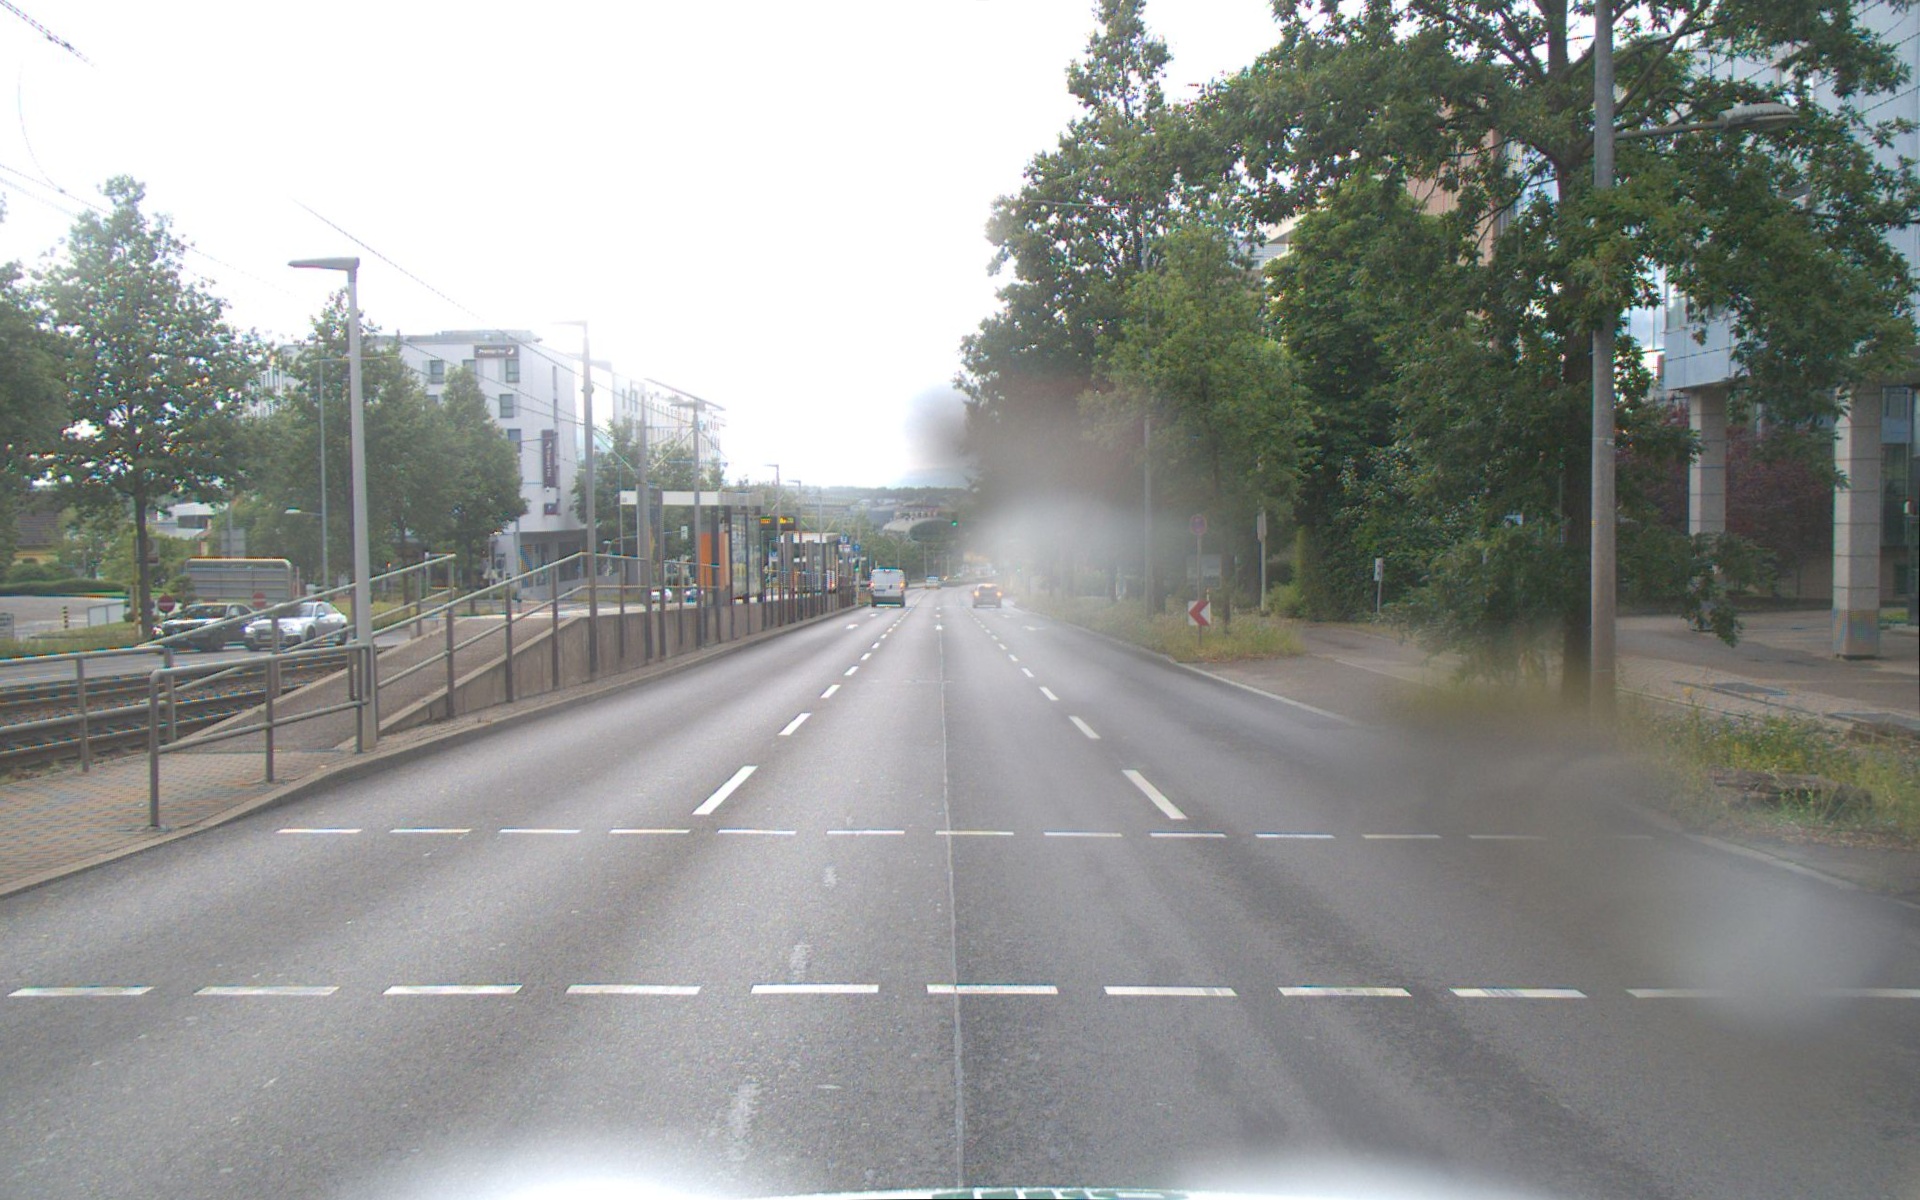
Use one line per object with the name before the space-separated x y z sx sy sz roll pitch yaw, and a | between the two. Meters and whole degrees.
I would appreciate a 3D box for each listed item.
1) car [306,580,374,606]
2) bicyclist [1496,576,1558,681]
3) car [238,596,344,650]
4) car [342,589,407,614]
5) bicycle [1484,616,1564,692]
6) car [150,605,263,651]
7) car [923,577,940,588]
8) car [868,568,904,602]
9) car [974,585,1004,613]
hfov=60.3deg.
car | -34.135 -0.406 91.029 3.297 1.411 1.434 0 1 16
bicyclist | 8.884 0.432 25.944 0.633 1.606 0.854 1 0 -1
car | -19.684 0.644 48.801 1.617 1.461 3.878 -2 1 -2
car | -33.578 0.086 94.854 3.297 1.411 1.434 0 1 16
bicycle | 8.894 0.834 26.145 0.569 1.107 1.905 1 1 -1
car | -22.544 0.806 49.635 1.616 1.258 3.968 0 1 -1
car | -3.501 -2.147 203.664 1.745 1.414 4.003 0 1 6
car | -4.557 -0.918 102.212 2.050 2.089 4.605 0 0 -1
car | 1.799 -0.070 102.745 1.738 1.720 3.845 0 0 -1
